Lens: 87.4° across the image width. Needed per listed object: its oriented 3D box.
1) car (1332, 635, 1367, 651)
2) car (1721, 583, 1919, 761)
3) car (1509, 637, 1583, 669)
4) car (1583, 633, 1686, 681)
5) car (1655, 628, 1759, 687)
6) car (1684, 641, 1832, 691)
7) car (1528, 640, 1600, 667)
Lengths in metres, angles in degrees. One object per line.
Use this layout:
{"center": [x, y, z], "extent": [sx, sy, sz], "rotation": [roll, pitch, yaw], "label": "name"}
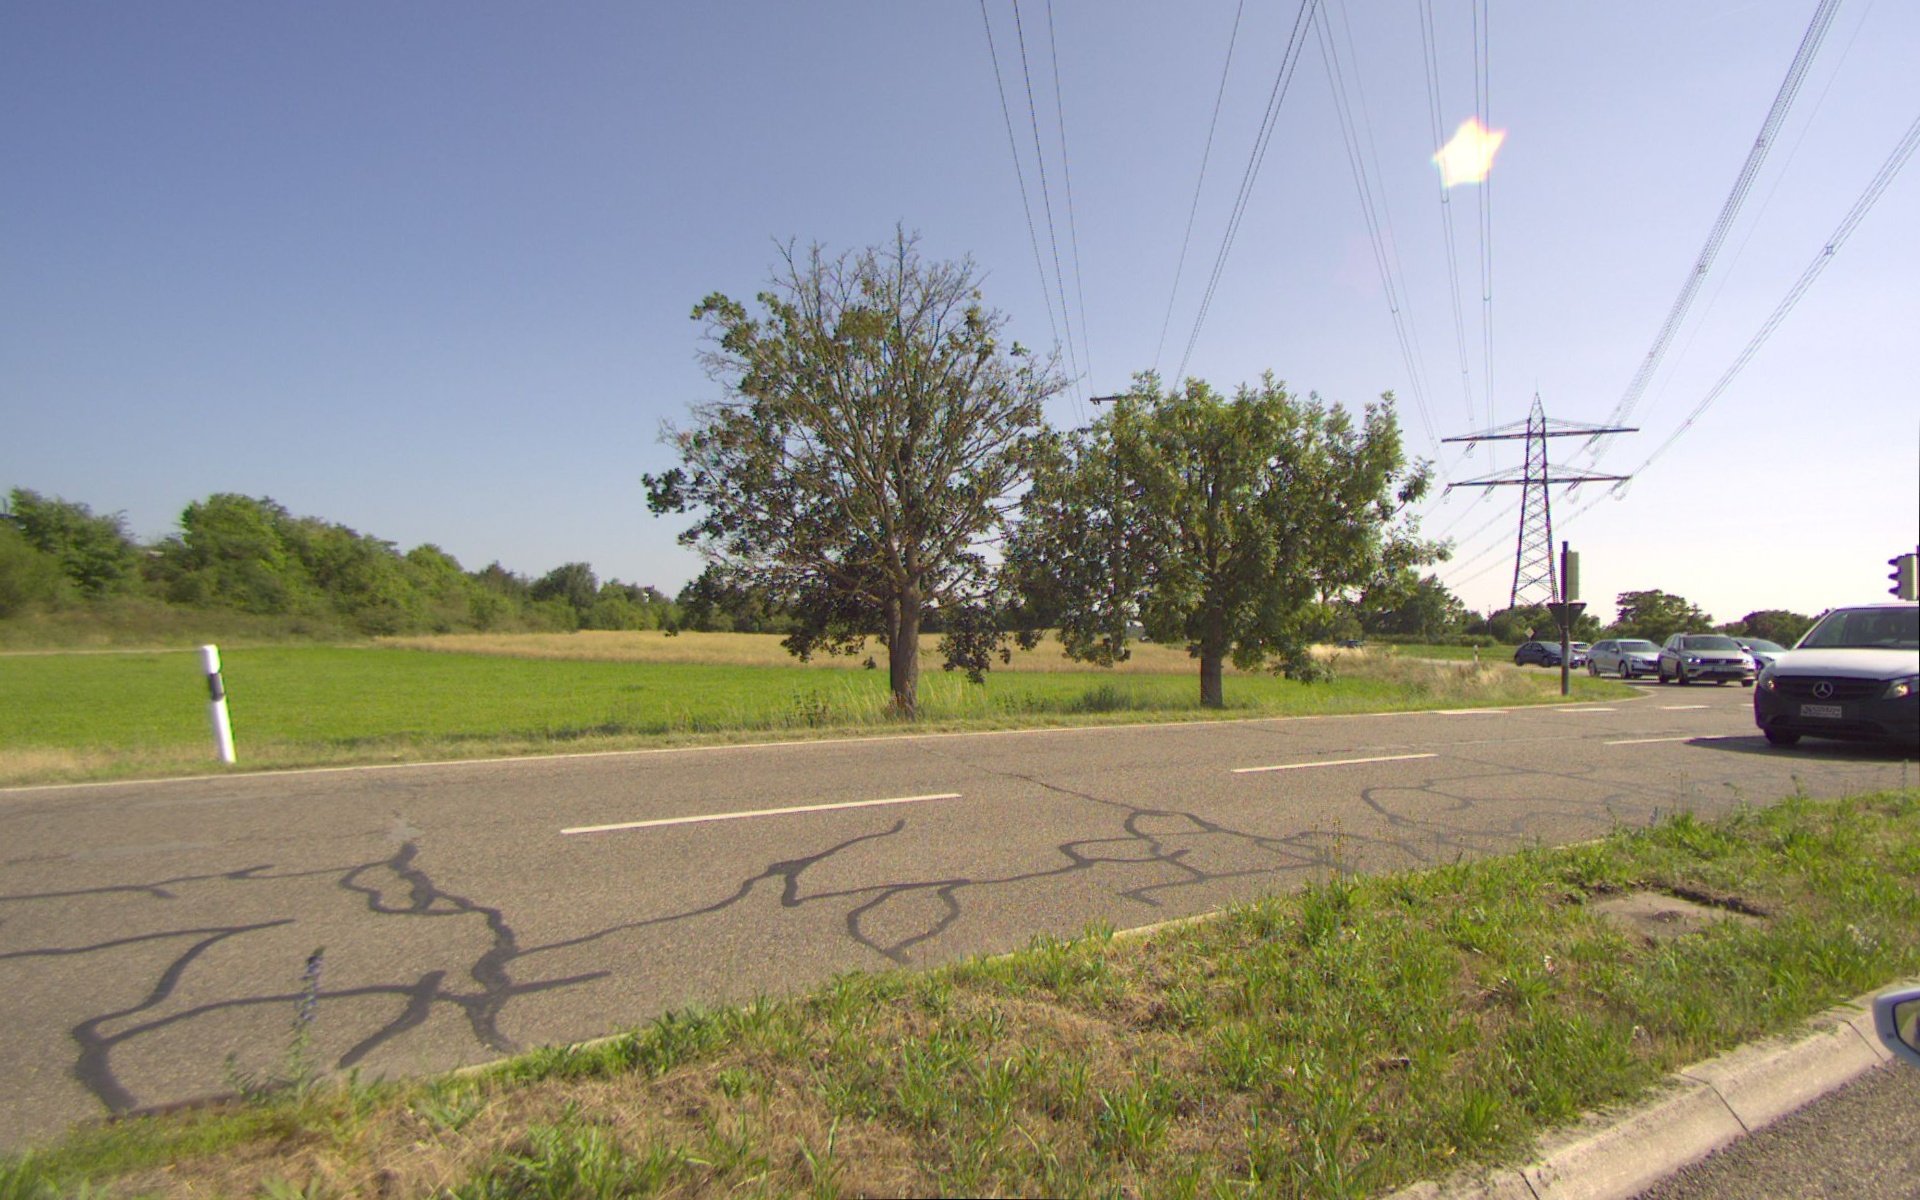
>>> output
{"center": [37.615, 4.157, 97.080], "extent": [1.683, 1.435, 4.103], "rotation": [1, -1, -3], "label": "car"}
{"center": [12.295, 0.819, 12.856], "extent": [4.879, 1.944, 1.988], "rotation": [1, 0, -24], "label": "car"}
{"center": [33.053, 2.977, 56.759], "extent": [1.785, 1.673, 4.000], "rotation": [1, -1, -2], "label": "car"}
{"center": [25.382, 2.115, 37.957], "extent": [1.783, 1.673, 4.003], "rotation": [1, -2, 10], "label": "car"}
{"center": [23.162, 1.749, 31.299], "extent": [1.786, 1.673, 3.997], "rotation": [0, -2, 25], "label": "car"}
{"center": [30.383, 2.468, 38.447], "extent": [1.785, 1.673, 4.761], "rotation": [1, -1, -2], "label": "car"}
{"center": [38.283, 3.381, 63.766], "extent": [1.773, 1.539, 4.334], "rotation": [1, -2, -4], "label": "car"}
